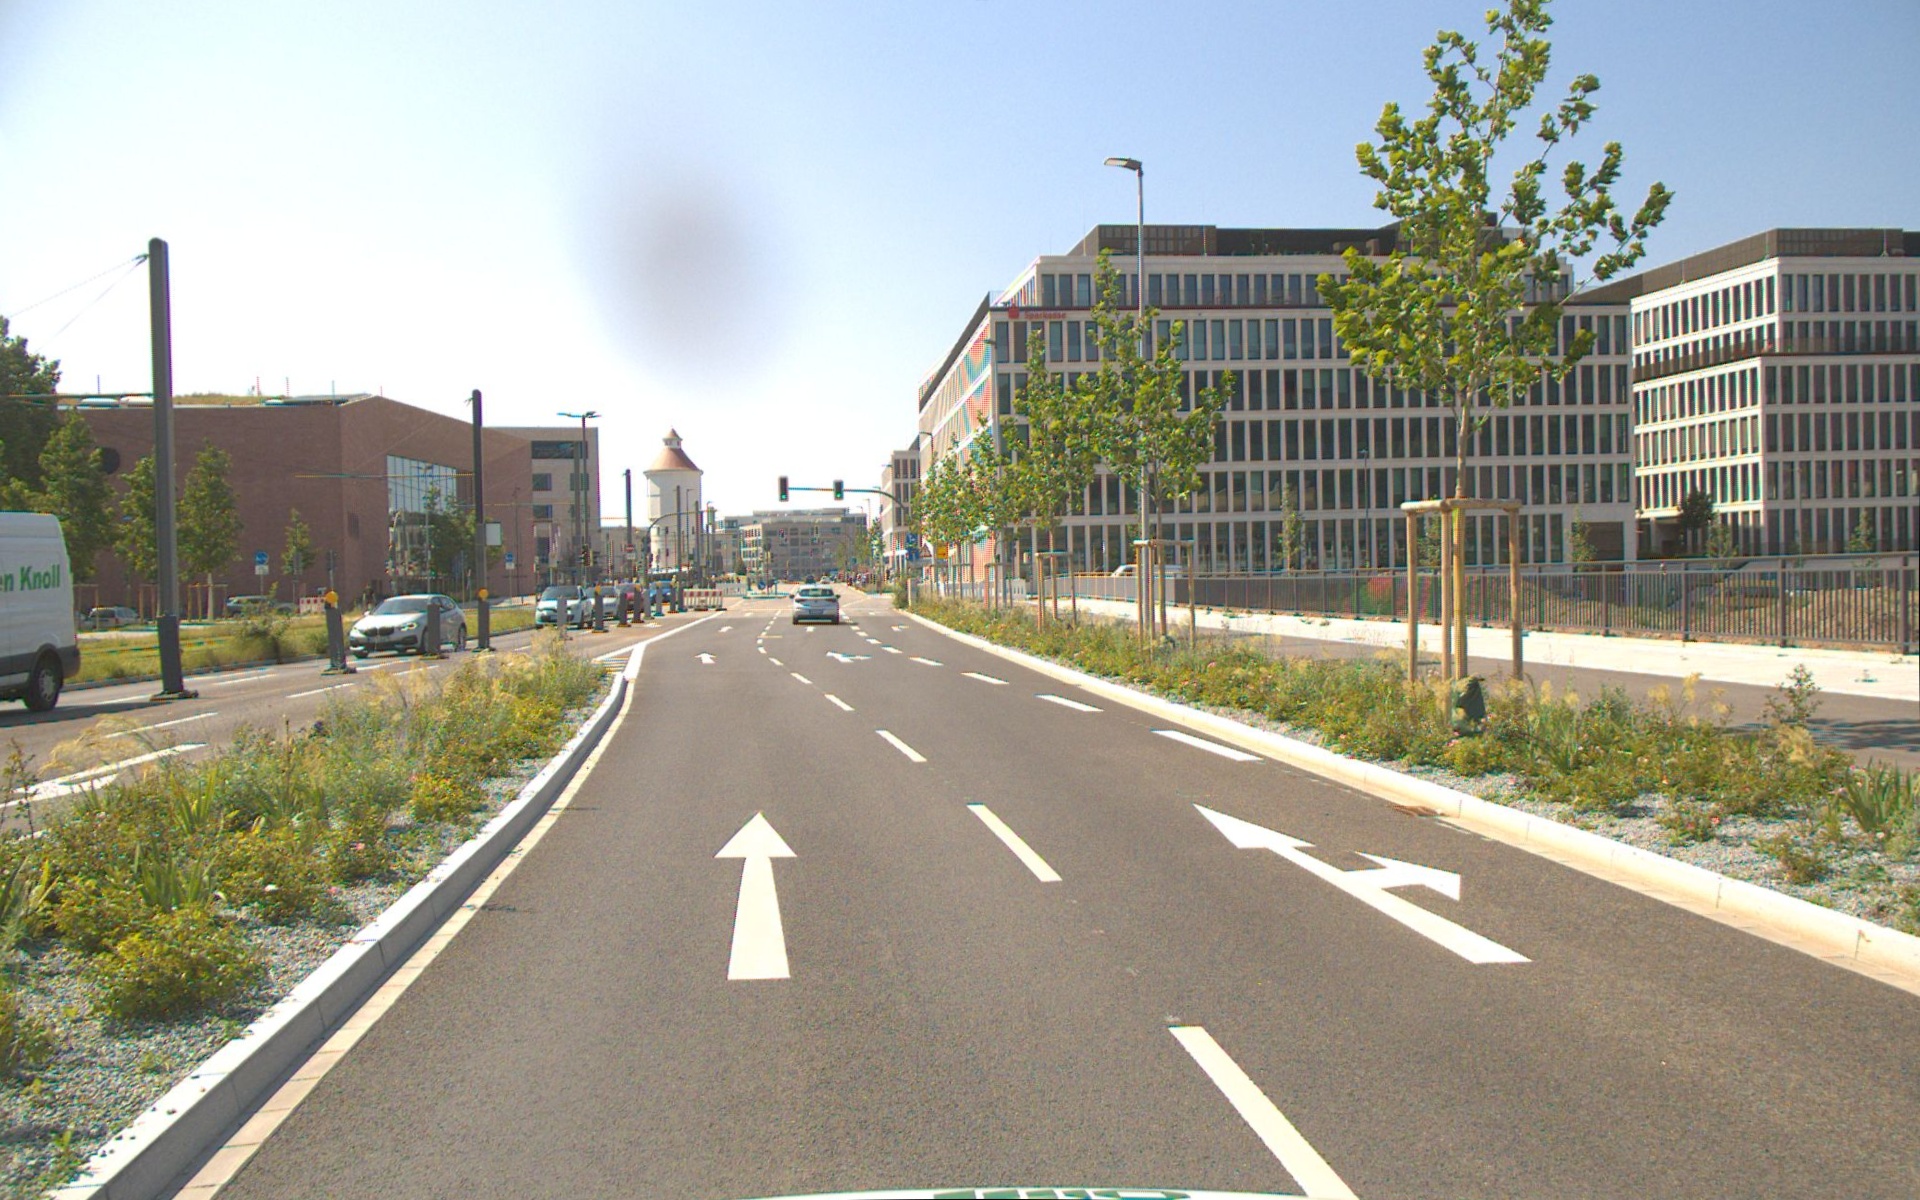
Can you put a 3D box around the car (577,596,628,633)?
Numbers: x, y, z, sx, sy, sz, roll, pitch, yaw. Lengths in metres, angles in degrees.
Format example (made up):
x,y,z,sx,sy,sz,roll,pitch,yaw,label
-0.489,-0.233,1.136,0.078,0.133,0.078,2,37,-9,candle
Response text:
x,y,z,sx,sy,sz,roll,pitch,yaw,label
-15.375,0.602,71.215,1.549,1.441,4.292,-2,1,-5,car

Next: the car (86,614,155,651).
x,y,z,sx,sy,sz,roll,pitch,yaw,label
-43.205,1.673,85.201,1.665,1.792,4.296,-1,0,-5,car

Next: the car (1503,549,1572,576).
x,y,z,sx,sy,sz,roll,pitch,yaw,label
35.410,-2.294,101.459,3.610,1.621,1.655,-1,1,-5,car

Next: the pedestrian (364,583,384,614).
x,y,z,sx,sy,sz,roll,pitch,yaw,label
-35.301,-0.099,99.662,0.795,1.879,1.107,-1,1,1,pedestrian

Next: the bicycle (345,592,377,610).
x,y,z,sx,sy,sz,roll,pitch,yaw,label
-41.046,0.079,113.272,2.018,1.233,0.537,0,0,-17,bicycle

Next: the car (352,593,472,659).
x,y,z,sx,sy,sz,roll,pitch,yaw,label
-13.741,0.602,41.725,1.640,1.468,4.466,-3,1,-3,car

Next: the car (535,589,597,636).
x,y,z,sx,sy,sz,roll,pitch,yaw,label
-14.289,0.420,60.119,1.549,1.556,3.617,-4,0,-5,car

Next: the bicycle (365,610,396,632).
x,y,z,sx,sy,sz,roll,pitch,yaw,label
-41.317,1.512,117.905,2.018,1.478,0.537,-1,1,-16,bicycle

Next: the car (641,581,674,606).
x,y,z,sx,sy,sz,roll,pitch,yaw,label
-18.407,-0.412,100.720,1.597,1.452,4.284,-3,1,-6,car

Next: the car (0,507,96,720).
x,y,z,sx,sy,sz,roll,pitch,yaw,label
-13.574,0.229,21.136,2.036,2.787,5.983,-3,1,-3,car

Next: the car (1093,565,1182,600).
x,y,z,sx,sy,sz,roll,pitch,yaw,label
12.198,-1.238,113.778,5.723,2.310,2.144,1,1,-5,car

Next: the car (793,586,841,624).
x,y,z,sx,sy,sz,roll,pitch,yaw,label
-5.429,0.204,63.091,1.736,1.419,3.529,0,0,-3,car

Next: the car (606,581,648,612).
x,y,z,sx,sy,sz,roll,pitch,yaw,label
-16.634,-0.184,82.768,1.549,1.441,3.995,-2,1,-5,car

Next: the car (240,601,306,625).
x,y,z,sx,sy,sz,roll,pitch,yaw,label
-42.440,0.795,102.264,3.411,1.393,1.571,-1,1,-6,car
